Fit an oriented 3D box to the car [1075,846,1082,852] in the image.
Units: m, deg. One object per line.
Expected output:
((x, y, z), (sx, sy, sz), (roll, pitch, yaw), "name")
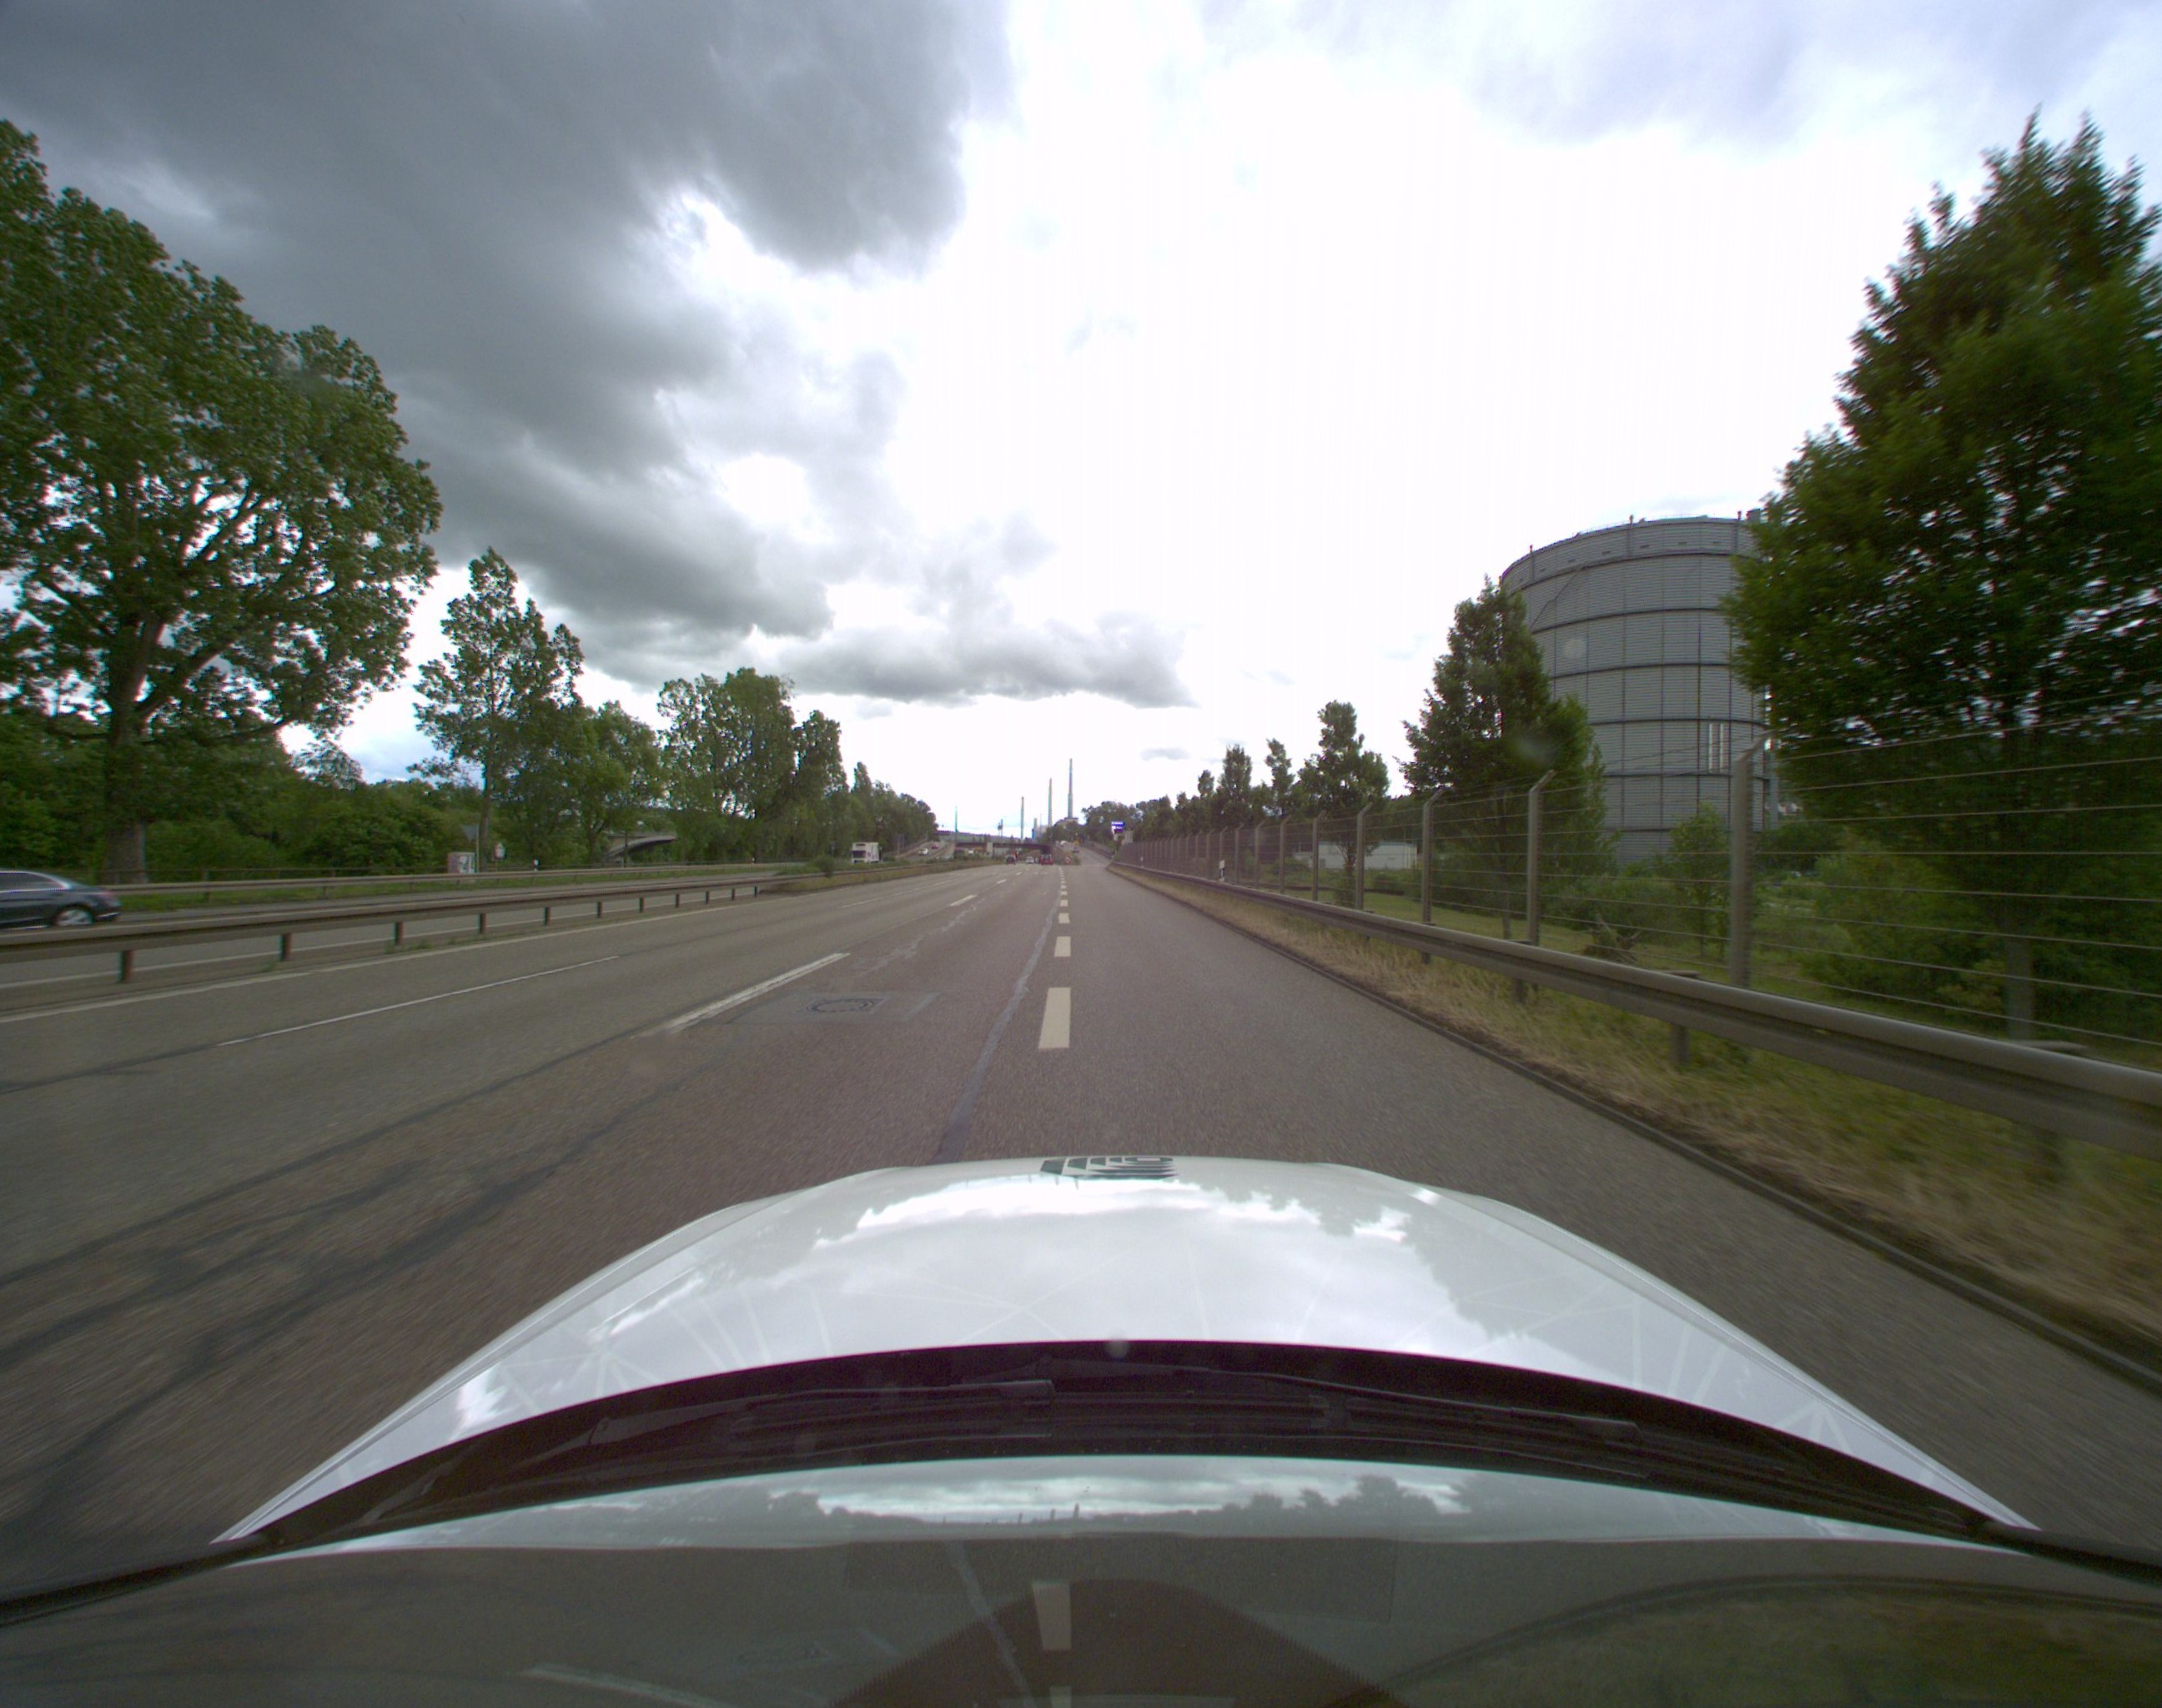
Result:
((-0.651, -1.464, 218.134), (1.743, 1.580, 4.086), (0, 0, 1), "car")

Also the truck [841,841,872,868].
((-31.509, 0.056, 114.724), (2.978, 3.643, 6.326), (2, 0, -5), "truck")

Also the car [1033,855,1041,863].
((-11.284, 1.294, 208.318), (1.916, 2.013, 3.991), (1, 0, -6), "car")

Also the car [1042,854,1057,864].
((-4.548, 0.674, 116.900), (1.988, 1.420, 3.998), (1, 0, -1), "car")

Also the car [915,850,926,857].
((-36.976, -0.119, 187.887), (1.990, 1.644, 4.596), (2, 0, -5), "car")

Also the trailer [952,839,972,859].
((-29.321, -1.044, 200.891), (3.455, 4.673, 14.767), (1, 0, -3), "trailer")

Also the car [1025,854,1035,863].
((-10.622, 0.933, 170.634), (1.988, 1.684, 3.997), (1, 0, -2), "car")

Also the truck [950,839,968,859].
((-28.993, -1.092, 193.558), (3.455, 4.673, 6.205), (1, -1, -3), "truck")

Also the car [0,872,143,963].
((-21.145, 1.319, 15.128), (1.989, 1.608, 4.645), (-7, 1, -3), "car")

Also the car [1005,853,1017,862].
((-13.517, 0.747, 157.925), (1.988, 1.684, 3.997), (1, 0, -2), "car")
